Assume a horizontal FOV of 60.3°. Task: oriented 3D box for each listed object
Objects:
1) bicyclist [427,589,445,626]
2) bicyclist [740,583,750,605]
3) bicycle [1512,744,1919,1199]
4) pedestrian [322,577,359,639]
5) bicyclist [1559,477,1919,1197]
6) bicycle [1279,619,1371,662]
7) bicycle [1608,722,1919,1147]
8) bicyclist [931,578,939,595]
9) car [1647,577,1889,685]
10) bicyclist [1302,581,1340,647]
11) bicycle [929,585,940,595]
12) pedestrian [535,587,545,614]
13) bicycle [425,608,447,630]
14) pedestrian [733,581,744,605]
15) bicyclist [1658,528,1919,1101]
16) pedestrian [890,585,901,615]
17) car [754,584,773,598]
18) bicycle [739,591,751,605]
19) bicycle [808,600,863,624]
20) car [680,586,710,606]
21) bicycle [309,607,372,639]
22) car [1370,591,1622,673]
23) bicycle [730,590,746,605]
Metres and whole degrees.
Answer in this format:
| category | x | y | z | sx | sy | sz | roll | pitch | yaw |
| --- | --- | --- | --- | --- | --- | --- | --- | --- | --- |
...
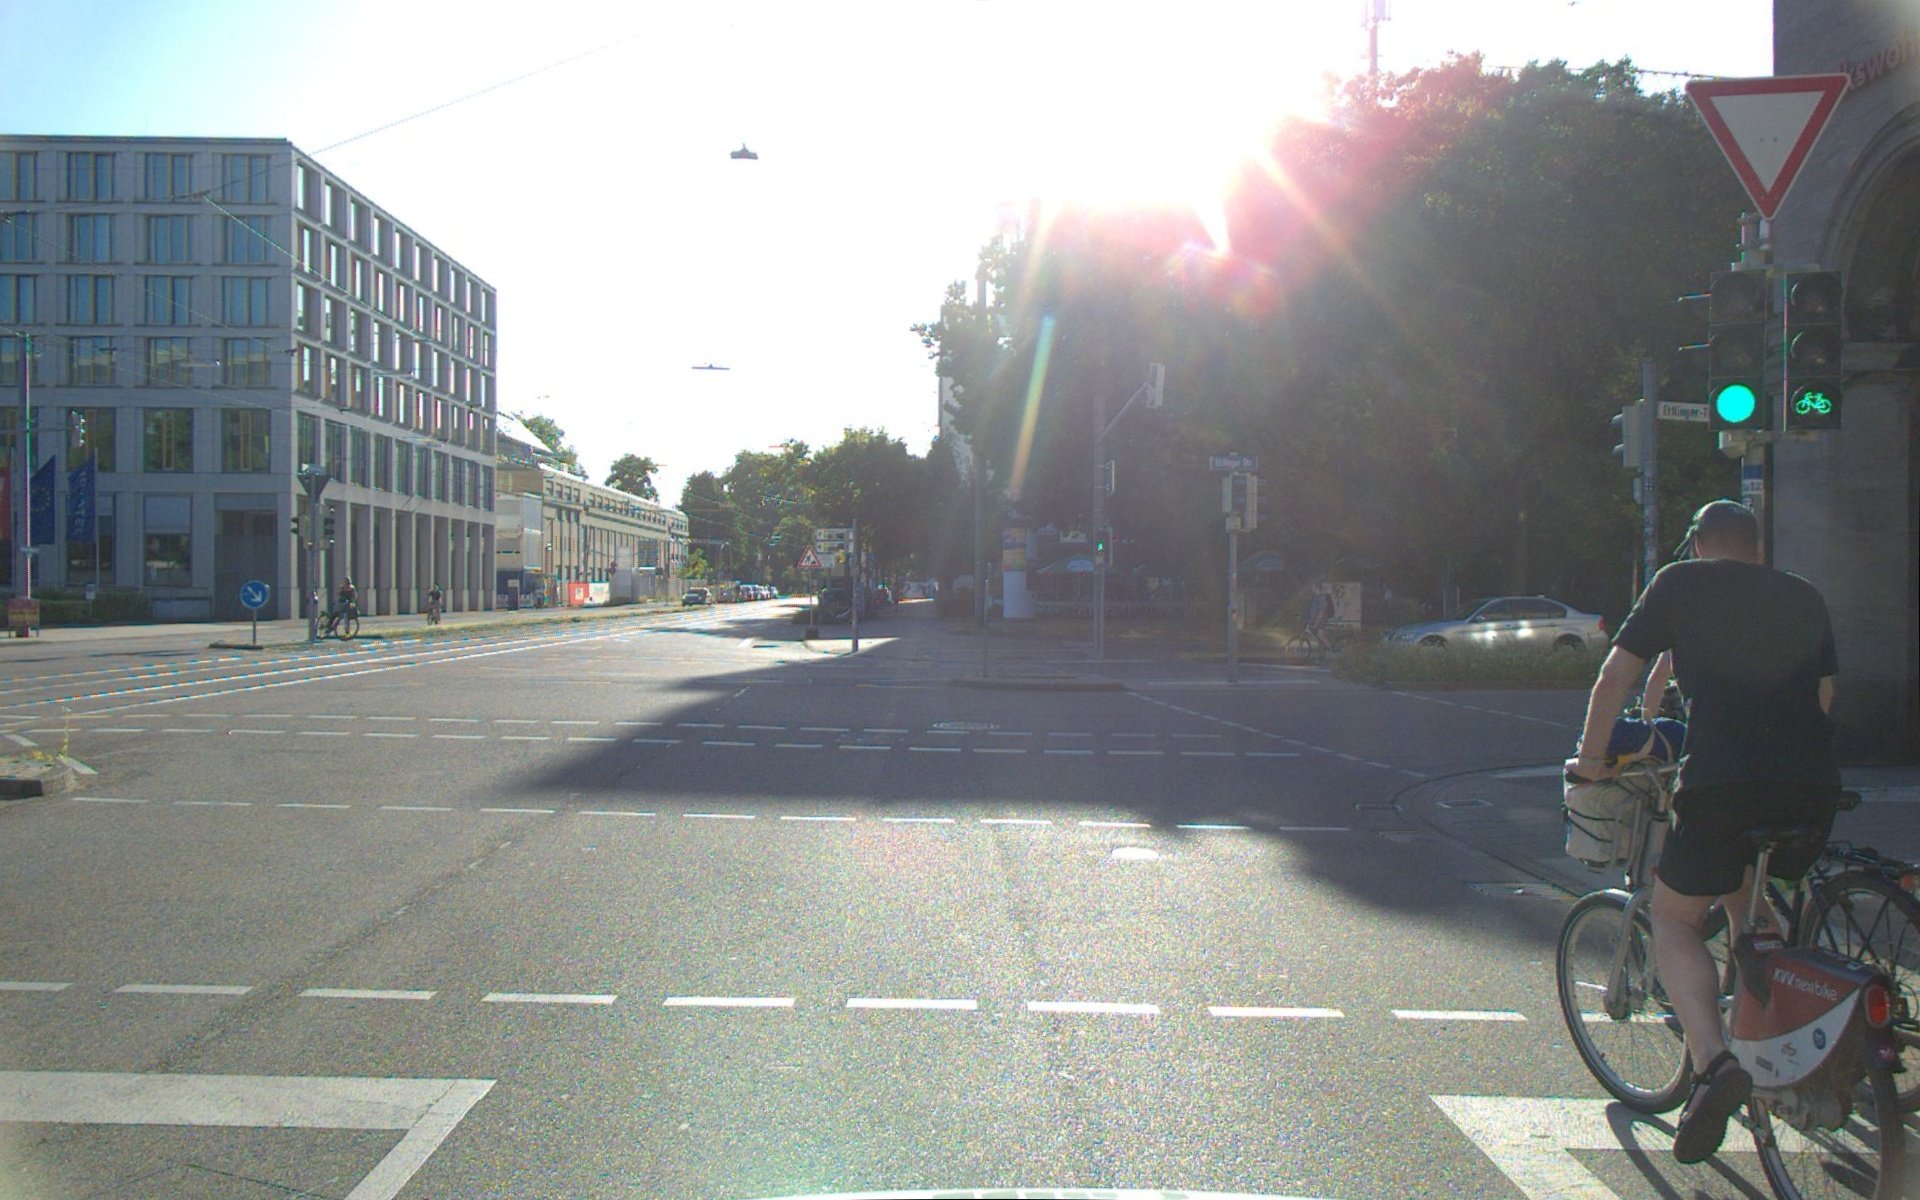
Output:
| category | x | y | z | sx | sy | sz | roll | pitch | yaw |
| --- | --- | --- | --- | --- | --- | --- | --- | --- | --- |
| bicyclist | -21.395 | 0.307 | 67.548 | 0.484 | 1.525 | 0.666 | 0 | 0 | 2 |
| bicyclist | -19.768 | -0.555 | 151.832 | 0.735 | 1.953 | 1.214 | 1 | 0 | -2 |
| bicycle | 2.112 | 1.001 | 4.457 | 0.610 | 1.062 | 1.746 | 0 | 0 | -2 |
| pedestrian | -16.400 | 0.206 | 43.771 | 0.727 | 1.623 | 0.573 | 0 | 0 | 26 |
| bicyclist | 2.104 | 0.573 | 4.479 | 0.610 | 1.745 | 0.912 | 0 | 0 | -1 |
| bicycle | 8.033 | 0.884 | 36.489 | 1.902 | 0.905 | 0.718 | 1 | 0 | 5 |
| bicycle | 2.889 | 1.014 | 5.587 | 0.571 | 1.062 | 1.745 | 0 | 0 | -6 |
| bicyclist | -3.048 | -1.613 | 200.347 | 0.875 | 2.049 | 0.746 | 1 | -1 | -12 |
| car | 16.227 | 0.615 | 33.383 | 3.905 | 2.049 | 2.000 | 1 | 0 | 0 |
| bicyclist | 7.954 | 0.308 | 36.496 | 0.731 | 1.431 | 0.702 | 1 | -1 | 6 |
| bicycle | -3.110 | -1.206 | 200.677 | 0.875 | 1.240 | 2.785 | 1 | 0 | -12 |
| pedestrian | -30.482 | 0.029 | 120.145 | 0.576 | 1.922 | 0.478 | 1 | -1 | -1 |
| bicycle | -21.395 | 0.766 | 67.551 | 0.484 | 0.854 | 1.156 | 0 | 0 | 2 |
| pedestrian | -19.539 | -0.645 | 145.920 | 0.735 | 2.099 | 1.050 | 1 | -1 | 5 |
| bicyclist | 2.895 | 0.658 | 5.615 | 0.572 | 1.769 | 0.949 | 0 | 0 | -6 |
| pedestrian | -3.797 | -0.007 | 97.547 | 0.566 | 1.719 | 0.584 | 0 | 0 | -8 |
| car | -23.066 | -1.067 | 194.358 | 1.954 | 1.673 | 3.997 | 0 | 0 | -4 |
| bicycle | -19.768 | -0.188 | 151.950 | 0.735 | 1.226 | 3.107 | 1 | 0 | -2 |
| bicycle | -5.041 | 0.471 | 67.124 | 2.201 | 0.956 | 0.653 | 0 | 0 | -6 |
| car | -21.680 | -0.328 | 135.427 | 1.954 | 1.627 | 3.997 | 0 | 1 | -3 |
| bicycle | -16.409 | 0.603 | 43.777 | 1.679 | 0.837 | 0.573 | 0 | 0 | 27 |
| car | 10.848 | 0.634 | 33.729 | 4.483 | 1.543 | 2.000 | 1 | 0 | -1 |
| bicycle | -19.555 | -0.211 | 145.854 | 0.735 | 1.226 | 3.109 | 1 | 0 | 5 |
